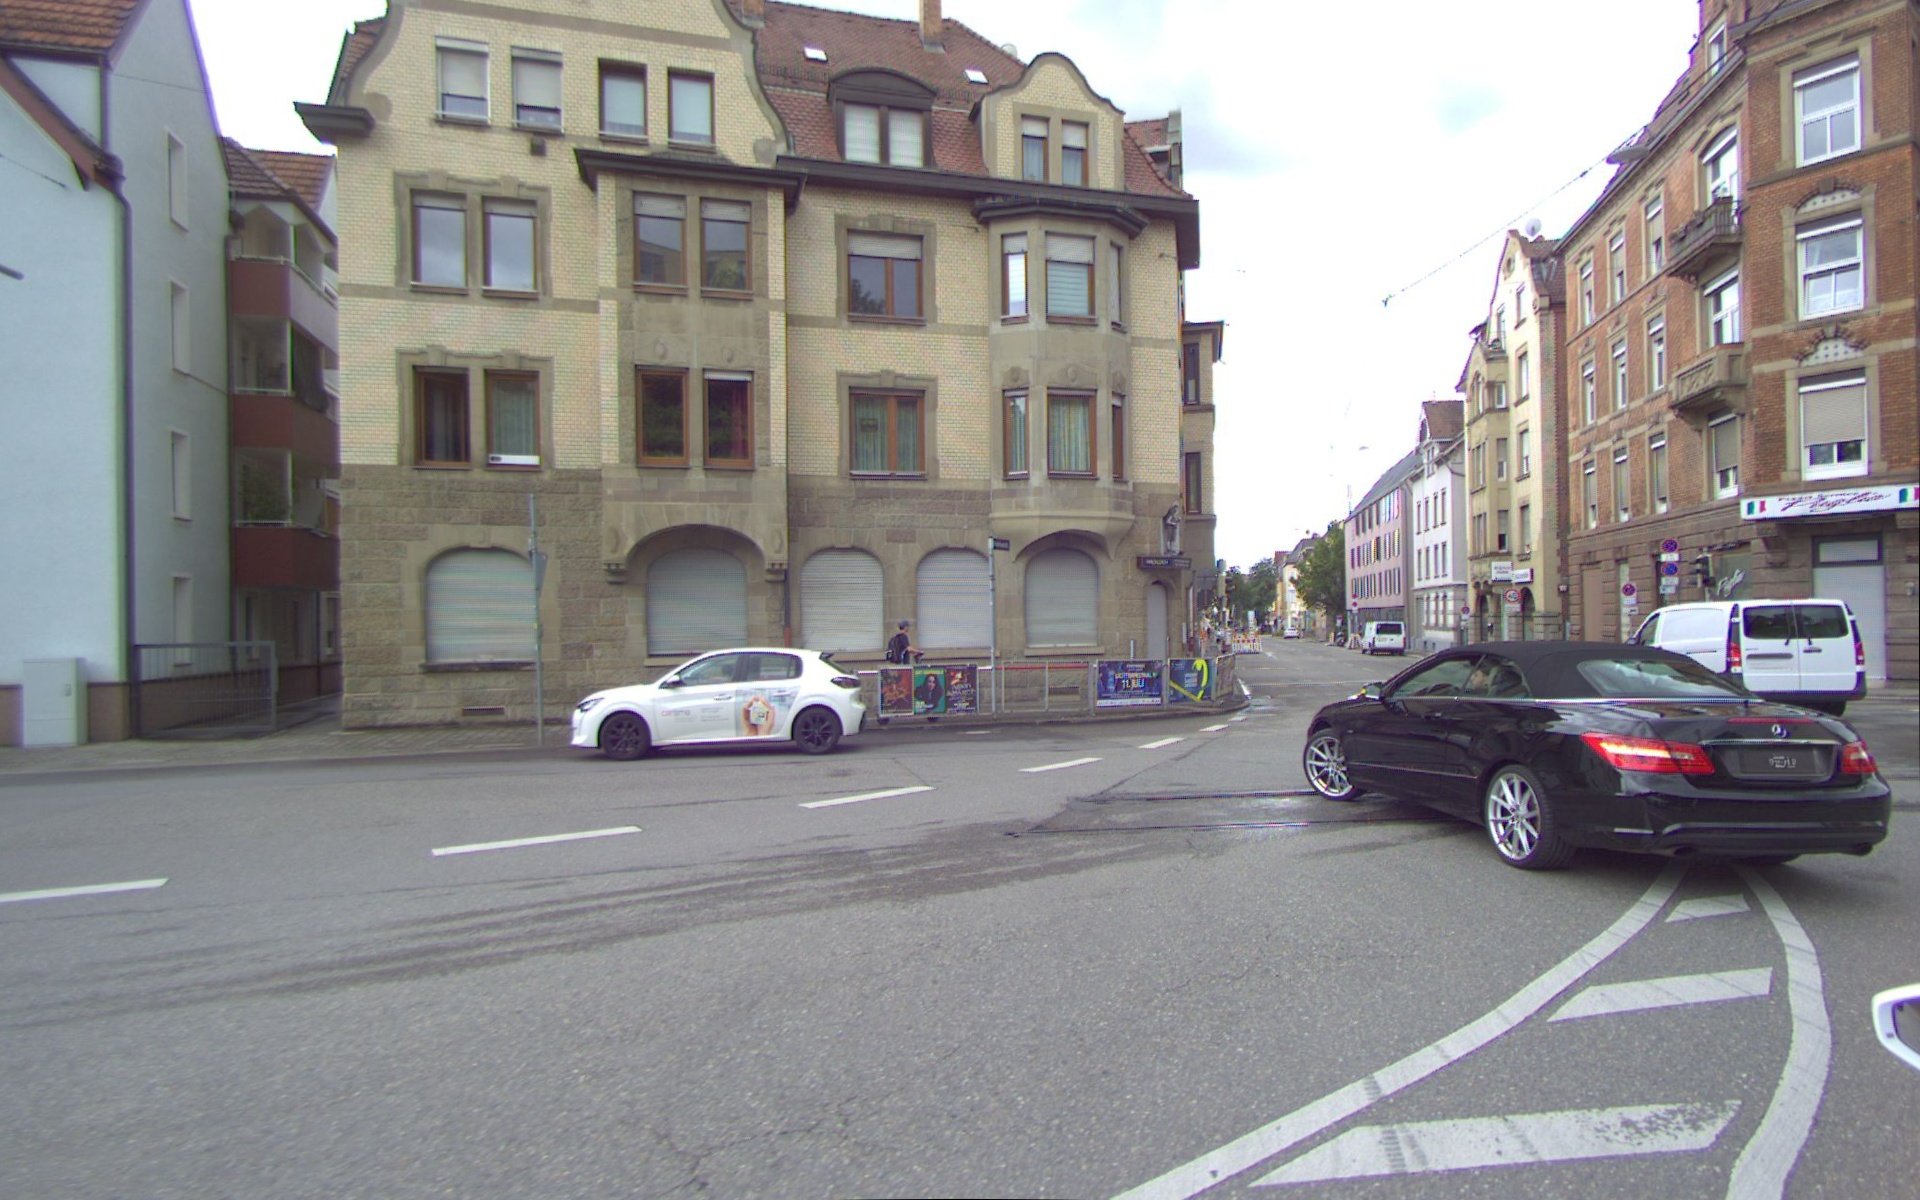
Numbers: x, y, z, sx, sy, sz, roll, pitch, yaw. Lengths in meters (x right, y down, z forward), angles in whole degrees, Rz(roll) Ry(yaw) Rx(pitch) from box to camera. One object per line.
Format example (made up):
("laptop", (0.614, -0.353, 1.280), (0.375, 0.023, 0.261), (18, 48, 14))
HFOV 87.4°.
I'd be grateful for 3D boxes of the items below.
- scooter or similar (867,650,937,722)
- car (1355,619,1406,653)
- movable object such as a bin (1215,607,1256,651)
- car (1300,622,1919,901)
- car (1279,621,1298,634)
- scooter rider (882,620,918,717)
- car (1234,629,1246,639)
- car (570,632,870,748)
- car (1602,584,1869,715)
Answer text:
("scooter or similar", (-1.057, 1.549, 18.190), (1.206, 1.258, 0.378), (0, -1, -17))
("car", (26.230, 2.213, 62.801), (2.092, 2.031, 4.929), (1, -1, 13))
("movable object such as a bin", (19.152, 2.007, 69.981), (2.494, 2.862, 4.542), (-3, -2, 13))
("car", (4.215, 0.943, 7.414), (1.733, 1.427, 4.399), (0, -3, -3))
("car", (42.954, 3.611, 131.383), (1.959, 1.505, 4.003), (3, -1, 13))
("scooter rider", (-1.095, 1.229, 18.184), (0.568, 1.728, 0.487), (0, -1, -16))
("car", (53.766, 6.554, 193.046), (1.961, 1.638, 4.002), (-2, -4, 18))
("car", (-3.195, 1.213, 14.015), (3.844, 1.485, 1.686), (0, -3, -5))
("car", (13.119, 0.864, 17.420), (1.859, 1.954, 4.649), (-1, -3, 13))
